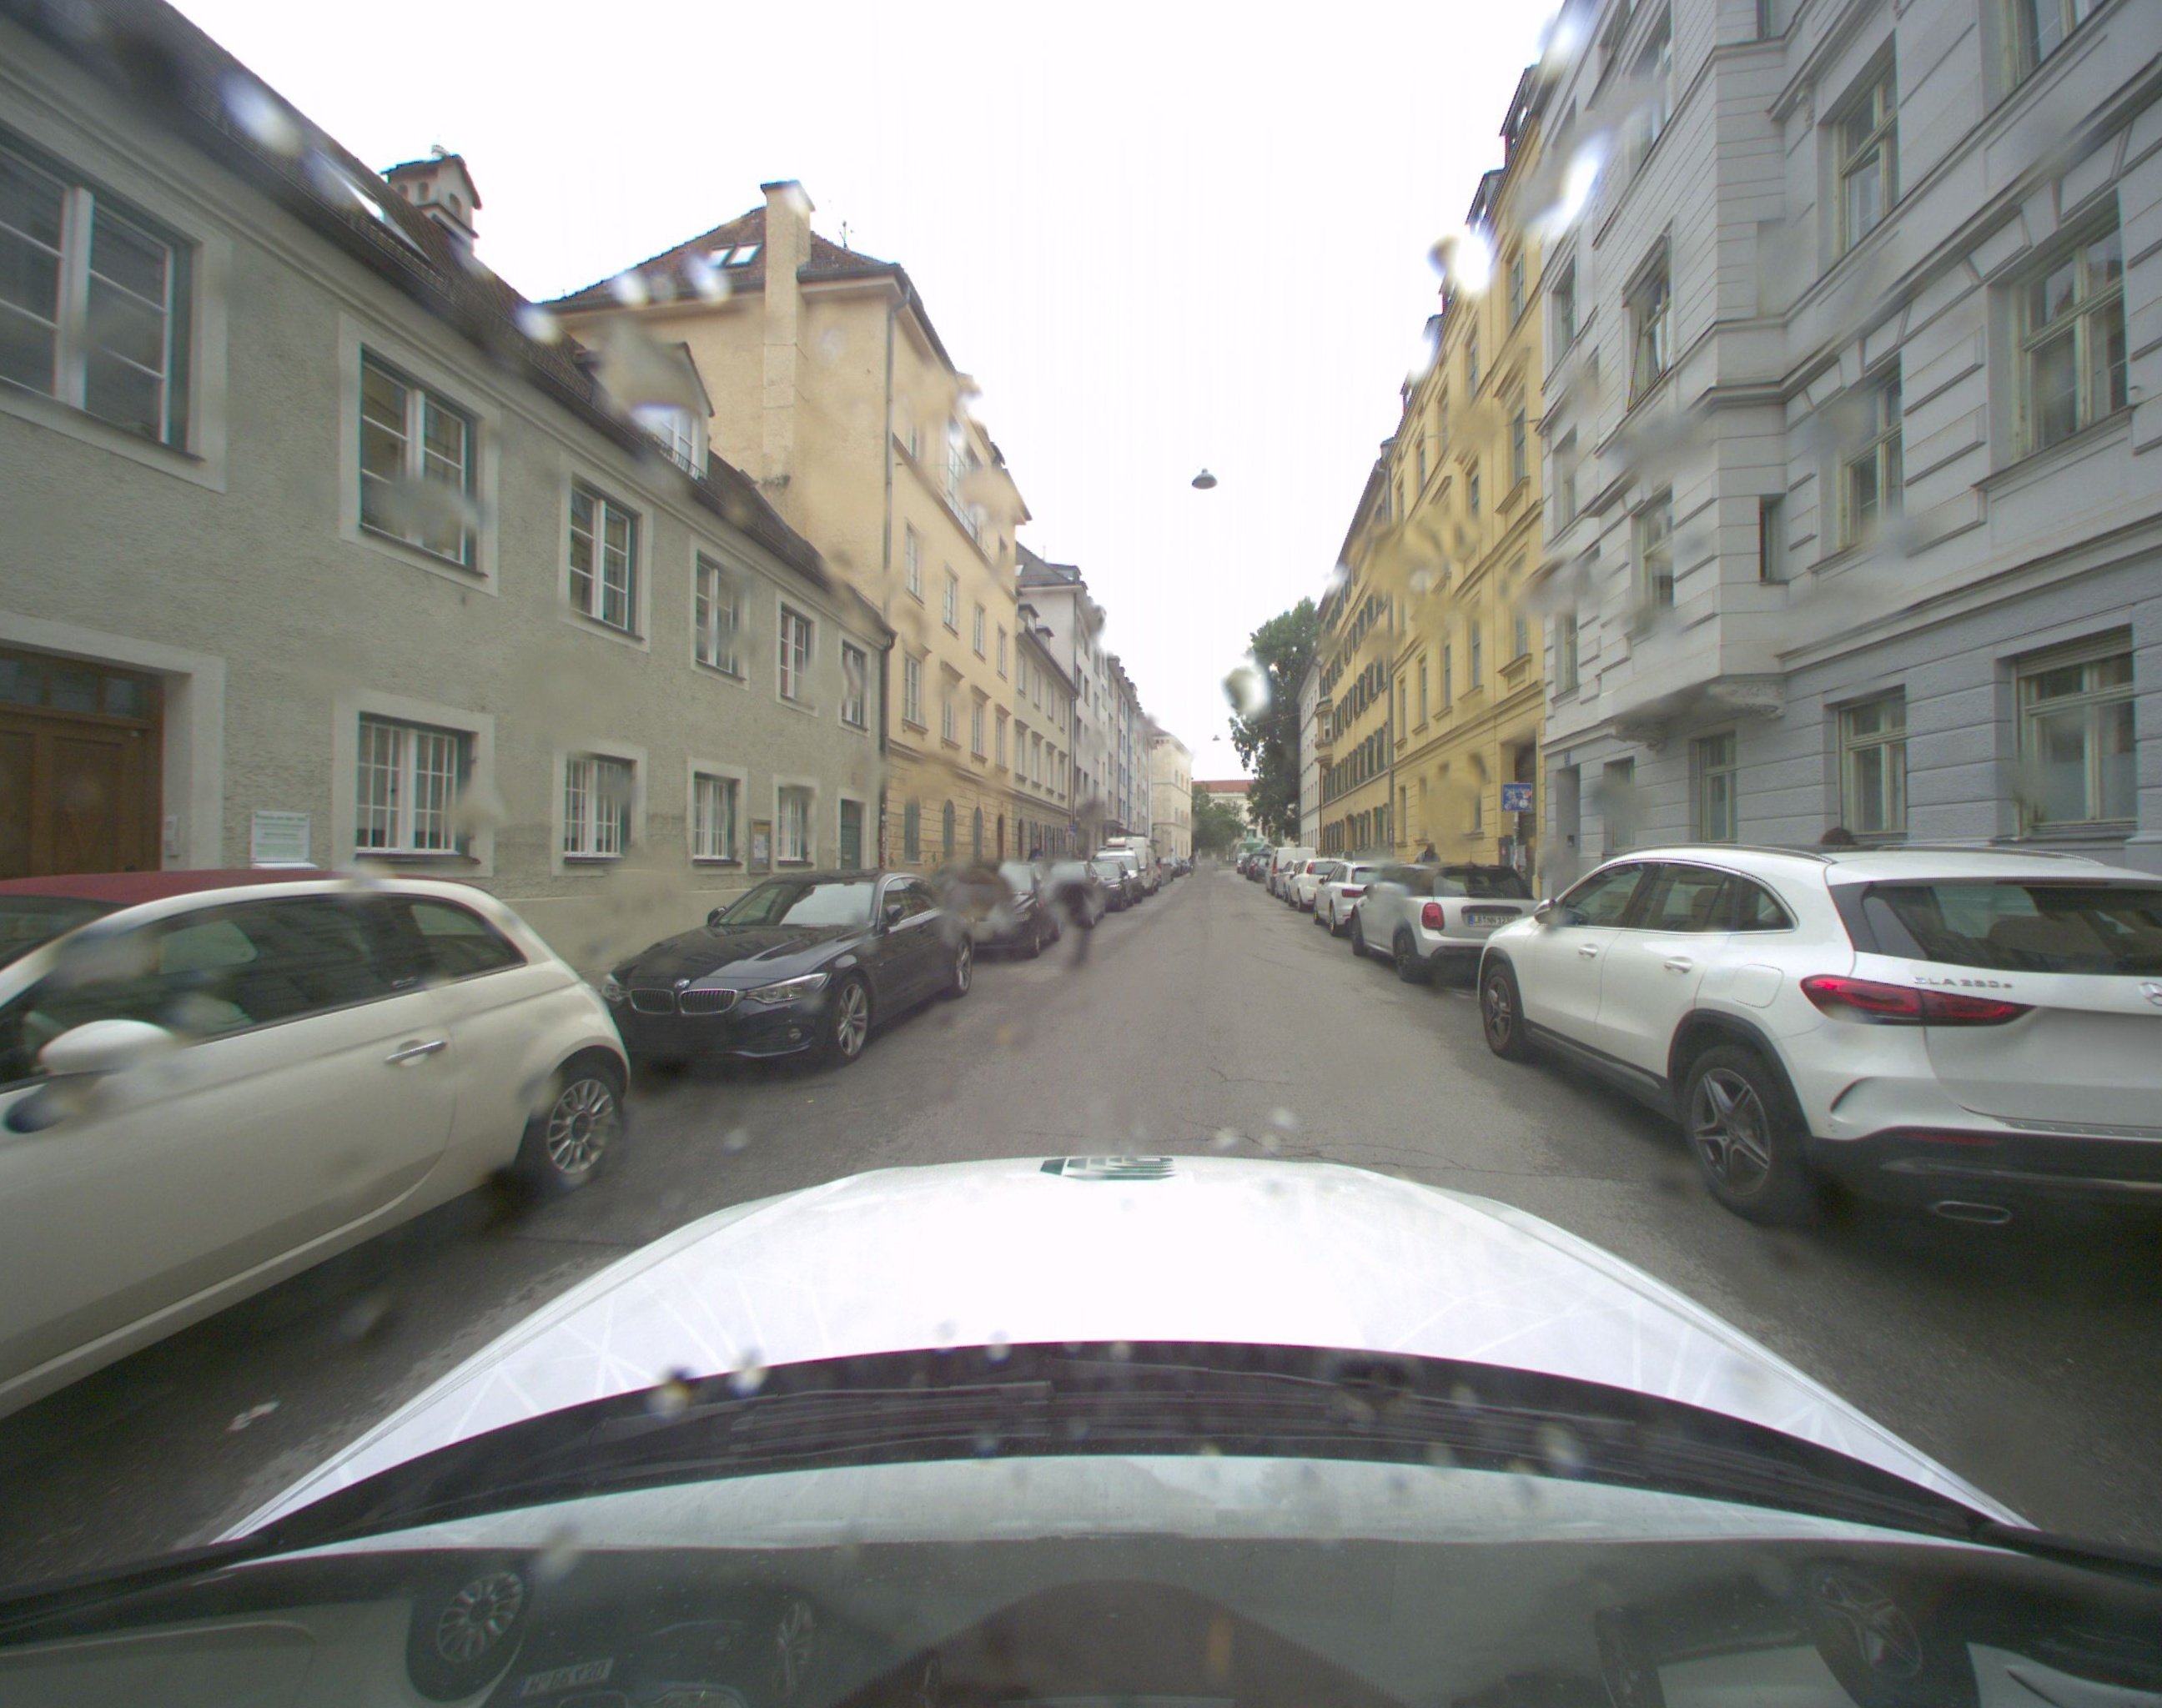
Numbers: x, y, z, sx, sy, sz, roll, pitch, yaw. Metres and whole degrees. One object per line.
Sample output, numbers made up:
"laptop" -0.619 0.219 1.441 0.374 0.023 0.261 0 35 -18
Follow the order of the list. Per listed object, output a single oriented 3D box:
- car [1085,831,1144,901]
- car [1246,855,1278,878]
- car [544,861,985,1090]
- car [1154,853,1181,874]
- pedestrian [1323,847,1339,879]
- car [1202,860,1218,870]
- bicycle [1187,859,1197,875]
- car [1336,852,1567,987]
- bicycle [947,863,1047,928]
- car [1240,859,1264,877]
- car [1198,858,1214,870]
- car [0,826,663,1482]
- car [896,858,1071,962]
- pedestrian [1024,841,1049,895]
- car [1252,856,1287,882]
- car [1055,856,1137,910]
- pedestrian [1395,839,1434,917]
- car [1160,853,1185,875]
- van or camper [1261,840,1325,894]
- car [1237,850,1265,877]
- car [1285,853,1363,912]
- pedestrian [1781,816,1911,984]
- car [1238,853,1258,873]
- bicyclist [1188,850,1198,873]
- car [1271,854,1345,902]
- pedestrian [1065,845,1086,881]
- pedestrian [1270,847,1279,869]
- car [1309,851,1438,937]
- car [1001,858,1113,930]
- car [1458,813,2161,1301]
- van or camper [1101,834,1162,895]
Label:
"car" 1.232 0.388 28.431 1.849 2.201 4.566 1 0 4
"car" 11.729 0.785 52.991 1.703 1.424 4.468 0 -1 8
"car" -2.331 0.787 7.391 1.847 1.401 4.278 1 0 8
"car" 6.641 0.711 62.235 1.763 1.539 4.169 -1 0 9
"pedestrian" 13.351 0.473 43.589 0.593 1.639 0.898 -3 -1 7
"car" 18.309 1.556 115.378 1.686 1.393 4.228 -1 -2 15
"bicycle" 8.132 0.928 59.512 0.728 1.151 2.004 0 0 8
"car" 4.774 0.740 11.129 1.708 1.510 3.943 0 0 6
"bicycle" -1.388 0.678 13.397 1.616 1.042 0.350 -1 -1 18
"car" 15.408 1.244 73.467 1.798 1.600 4.224 1 0 8
"car" 16.782 1.383 109.137 1.765 1.535 4.227 -1 -2 14
"car" -3.182 0.684 2.654 1.561 1.514 3.430 1 0 6
"car" -1.399 0.787 13.517 1.847 1.401 4.278 1 0 8
"pedestrian" -1.679 0.513 30.834 0.800 2.014 0.752 0 0 10
"car" 10.937 0.855 47.497 1.735 1.464 4.011 0 0 9
"car" 0.539 0.770 23.611 1.847 1.401 4.278 1 0 8
"pedestrian" 8.194 0.575 20.032 0.697 1.862 0.807 0 0 7
"car" 7.626 0.806 67.528 1.861 1.688 4.531 -1 0 9
"van or camper" 8.534 0.494 33.227 1.982 2.013 5.245 0 0 8
"car" 12.432 0.706 59.742 1.835 1.776 4.212 2 -1 10
"car" 6.825 0.749 23.163 1.614 1.510 3.770 0 0 9
"pedestrian" 7.540 0.443 8.058 0.641 1.575 0.626 -3 -1 10
"car" 16.323 0.862 79.571 1.870 1.924 4.890 0 0 12
"bicyclist" 8.154 0.551 59.471 0.682 1.627 0.855 1 0 8
"car" 7.669 0.768 27.870 1.806 1.510 4.597 0 0 7
"pedestrian" -0.240 0.431 38.736 0.800 1.712 1.024 0 0 11
"pedestrian" 19.772 0.376 83.292 0.788 2.197 0.816 1 0 9
"car" 5.778 0.713 16.587 1.706 1.510 4.480 0 0 9
"car" -0.400 0.810 18.506 1.847 1.401 4.278 1 0 8
"car" 3.827 0.673 4.829 1.707 1.601 4.333 0 0 8
"van or camper" 2.215 0.401 33.851 1.982 2.311 5.492 0 0 9
